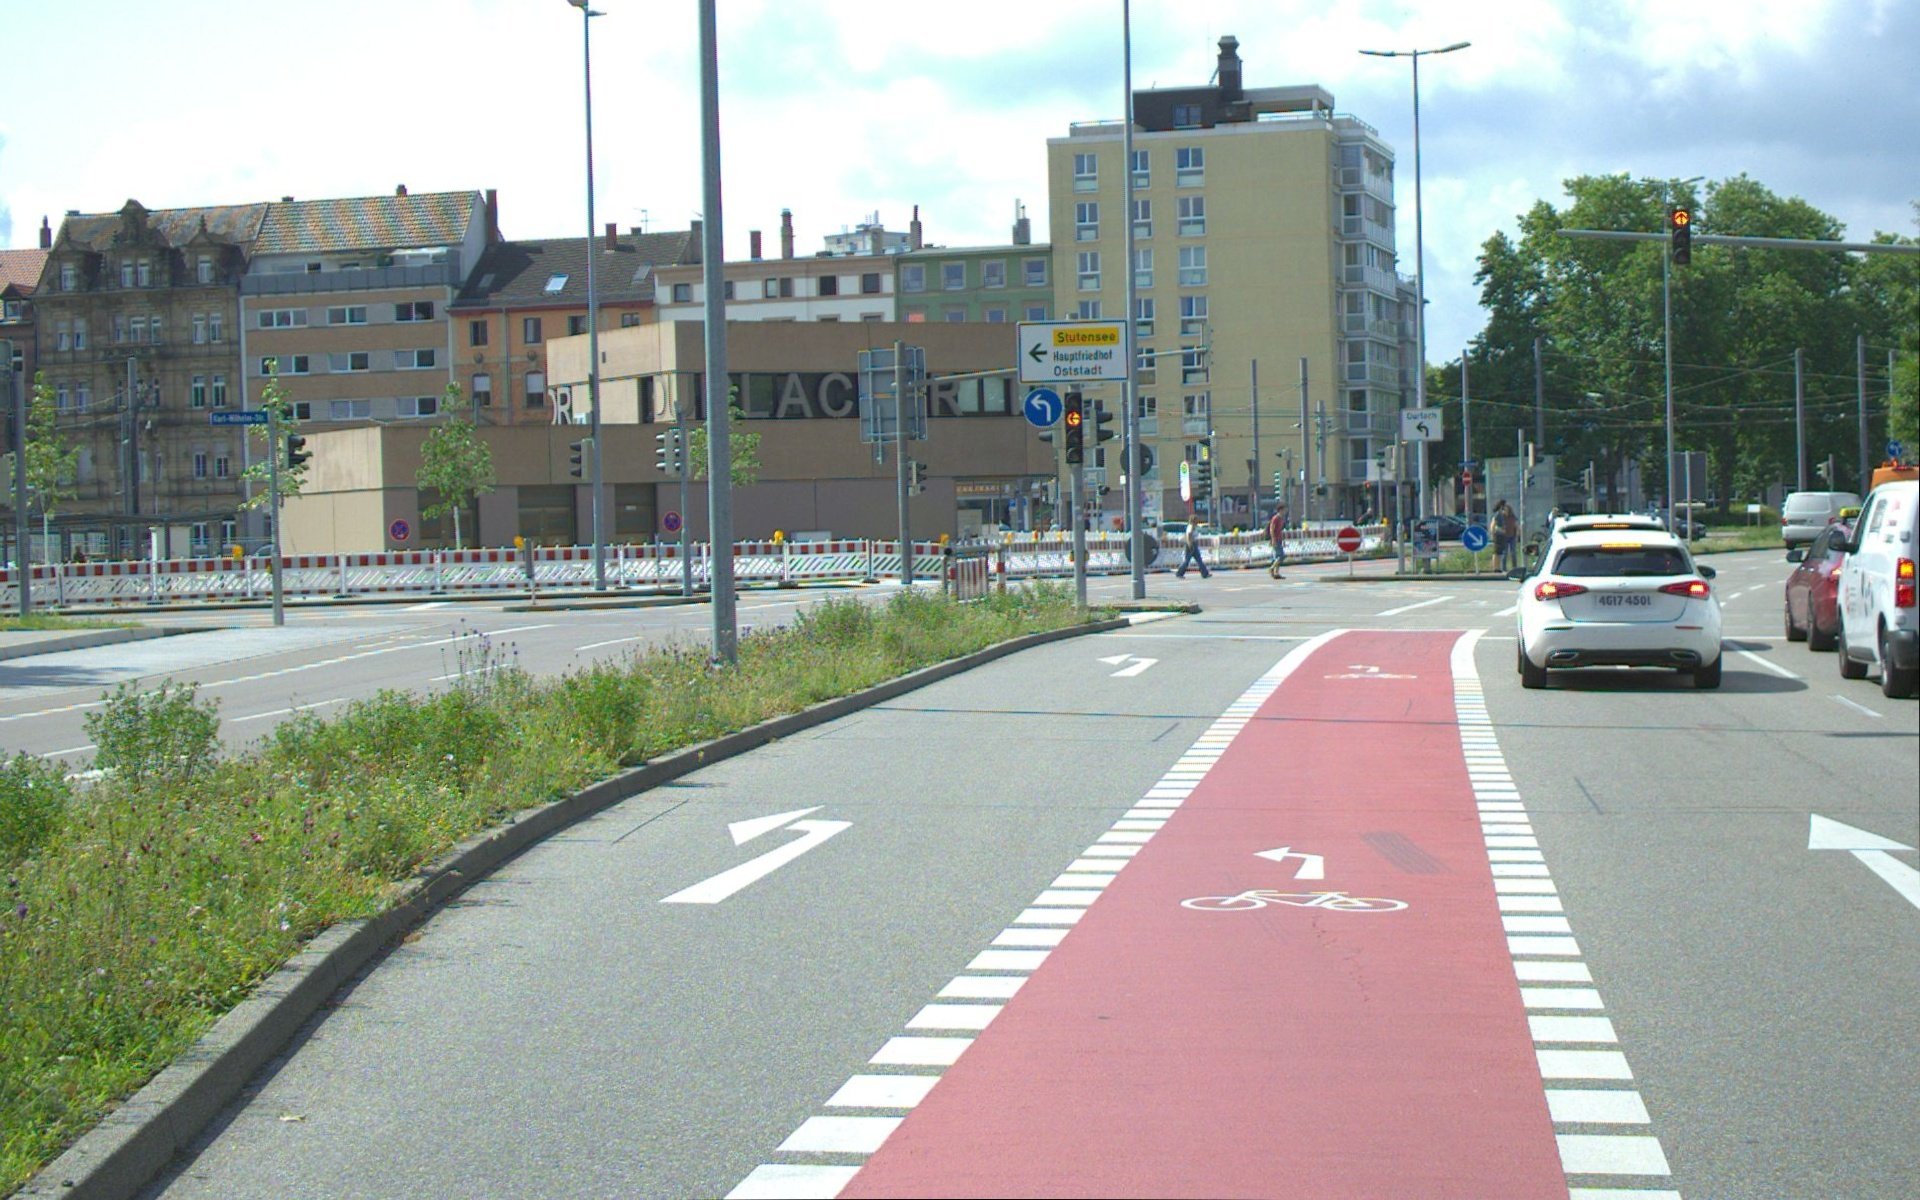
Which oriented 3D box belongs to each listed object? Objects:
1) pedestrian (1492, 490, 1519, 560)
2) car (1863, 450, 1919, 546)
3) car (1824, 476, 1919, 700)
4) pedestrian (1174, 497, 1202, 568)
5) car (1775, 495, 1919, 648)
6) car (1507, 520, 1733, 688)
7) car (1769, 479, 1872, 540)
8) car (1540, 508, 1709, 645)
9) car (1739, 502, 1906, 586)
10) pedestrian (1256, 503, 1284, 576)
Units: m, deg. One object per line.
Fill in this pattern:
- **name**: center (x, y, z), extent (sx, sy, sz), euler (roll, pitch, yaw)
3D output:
- **pedestrian**: center (13.120, -1.800, 82.656), extent (0.525, 1.678, 0.623), euler (-1, 1, 17)
- **car**: center (28.722, -3.057, 102.538), extent (2.134, 2.771, 4.631), euler (-1, 1, 32)
- **car**: center (9.017, -0.190, 30.873), extent (1.943, 1.863, 4.824), euler (-1, 2, 8)
- **pedestrian**: center (5.576, -1.655, 83.961), extent (0.525, 1.727, 0.623), euler (-1, 1, 18)
- **car**: center (10.429, -0.374, 39.398), extent (1.681, 1.635, 4.462), euler (-1, 2, 8)
- **car**: center (6.197, -0.013, 32.662), extent (1.904, 1.419, 4.383), euler (-1, 2, 9)
- **car**: center (29.161, -3.080, 116.461), extent (2.009, 1.960, 4.631), euler (-1, 1, 32)
- **car**: center (7.881, -0.324, 41.058), extent (1.791, 1.534, 4.010), euler (0, 2, 8)
- **car**: center (19.783, -1.268, 78.743), extent (1.999, 1.809, 3.990), euler (3, 2, 43)
- **pedestrian**: center (7.427, -1.449, 82.410), extent (0.525, 1.727, 0.623), euler (-1, 1, 17)
